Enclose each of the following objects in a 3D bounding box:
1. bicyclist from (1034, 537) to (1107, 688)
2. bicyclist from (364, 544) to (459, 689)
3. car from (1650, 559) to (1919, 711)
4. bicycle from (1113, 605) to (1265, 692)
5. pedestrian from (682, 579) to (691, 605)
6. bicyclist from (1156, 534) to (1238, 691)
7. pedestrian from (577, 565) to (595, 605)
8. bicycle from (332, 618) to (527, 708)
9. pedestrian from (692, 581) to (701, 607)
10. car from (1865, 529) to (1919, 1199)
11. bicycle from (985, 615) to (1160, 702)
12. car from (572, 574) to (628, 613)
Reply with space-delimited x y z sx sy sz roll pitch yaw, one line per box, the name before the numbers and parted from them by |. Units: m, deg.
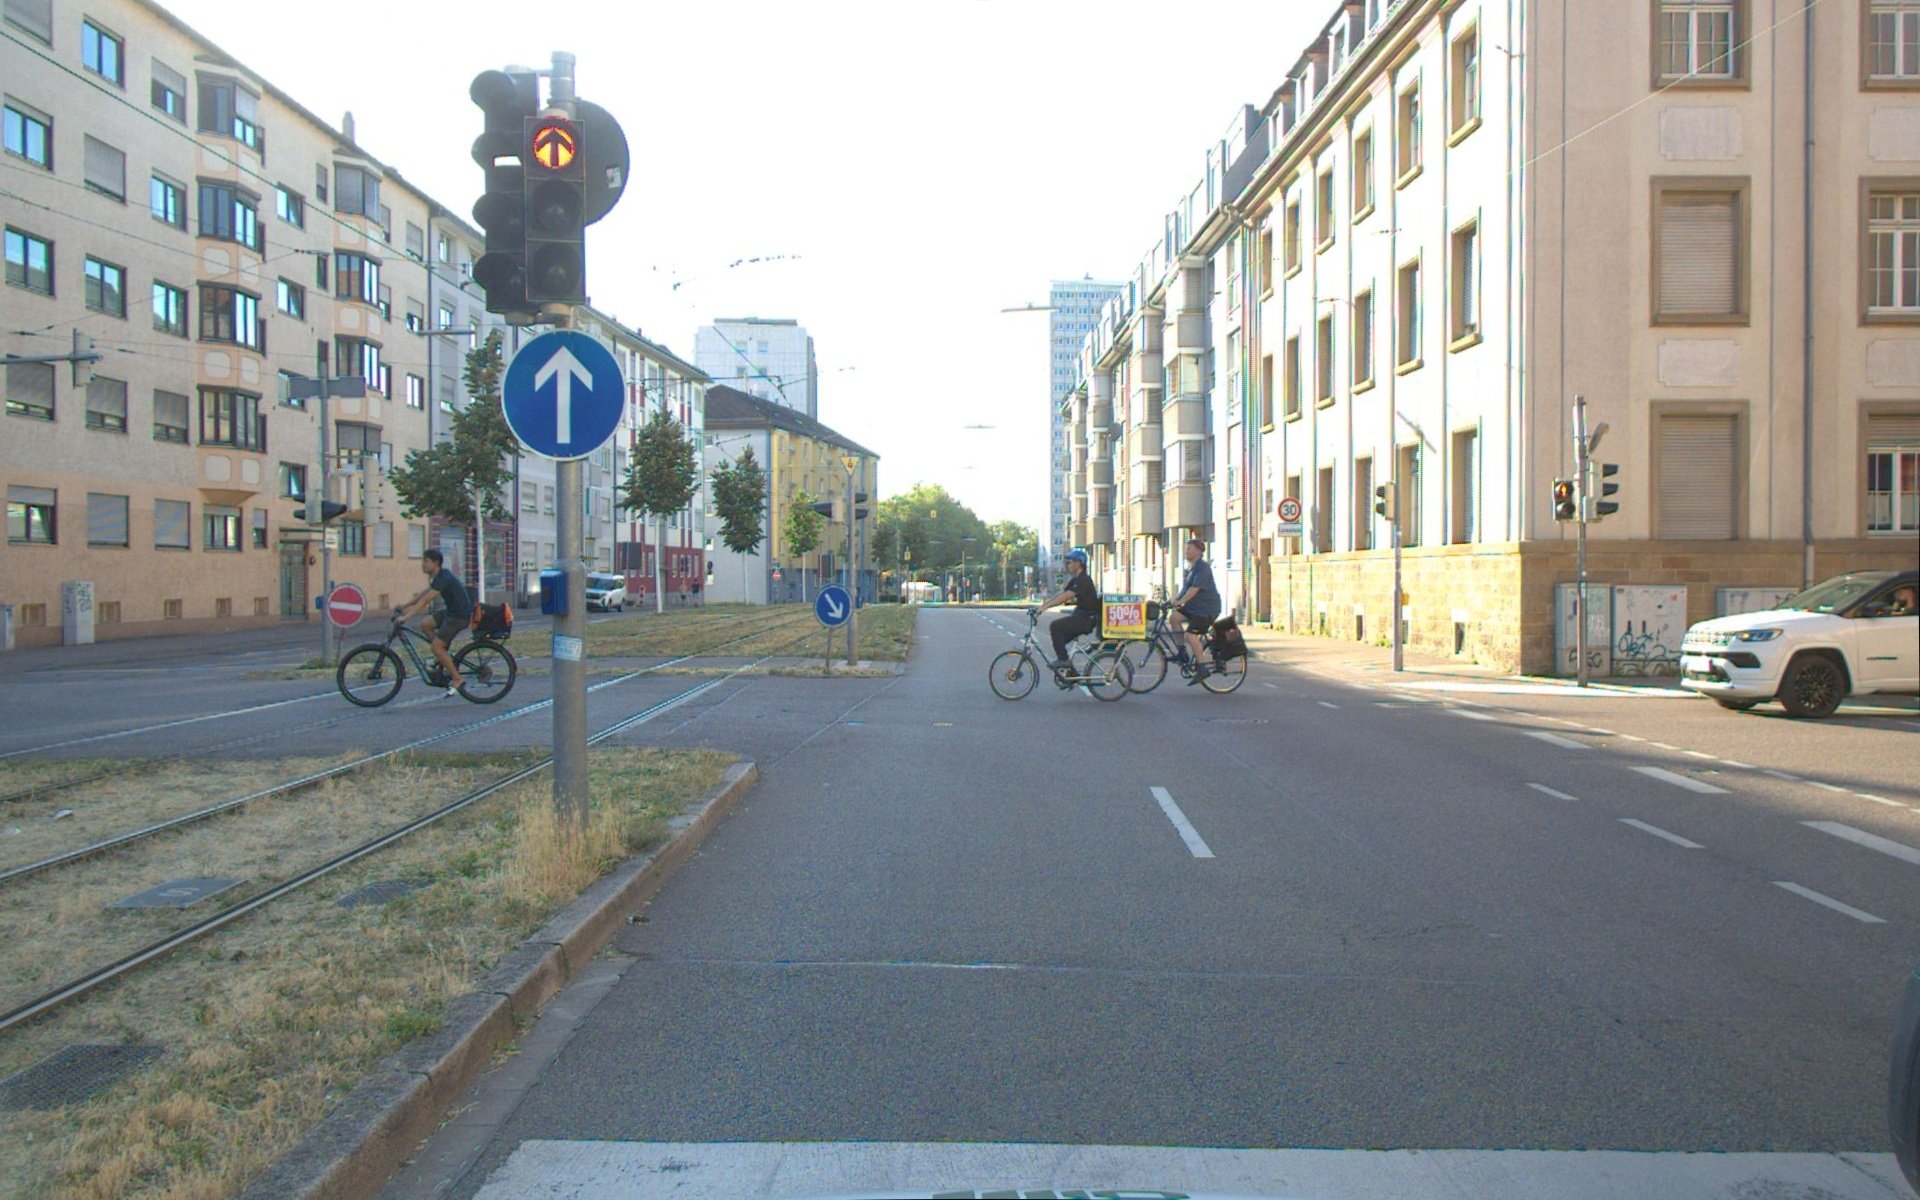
bicyclist | 1.340 0.150 20.184 0.777 1.784 0.720 1 0 -3
bicyclist | -6.042 0.174 18.254 0.887 1.553 0.646 -1 0 -11
car | 10.613 0.381 19.275 4.331 1.670 1.998 0 0 -4
bicycle | 3.023 0.637 21.908 1.905 1.113 0.575 1 0 -4
pedestrian | -17.912 -0.520 108.344 0.485 1.687 0.408 -1 0 -1
bicyclist | 3.118 0.153 21.805 0.940 2.023 0.672 -1 0 -4
pedestrian | -19.304 -0.787 85.422 0.771 2.049 0.890 0 0 -4
bicycle | -5.840 0.684 18.311 1.943 0.909 0.784 -1 0 -11
pedestrian | -17.294 -0.401 108.651 0.485 1.687 0.408 -1 0 -1
car | 2.879 0.666 1.594 1.734 1.603 4.085 -1 1 -1
bicycle | 1.359 0.706 20.173 2.031 0.975 0.746 1 0 -4
car | -17.726 -0.318 81.589 1.774 1.829 4.245 2 0 1
